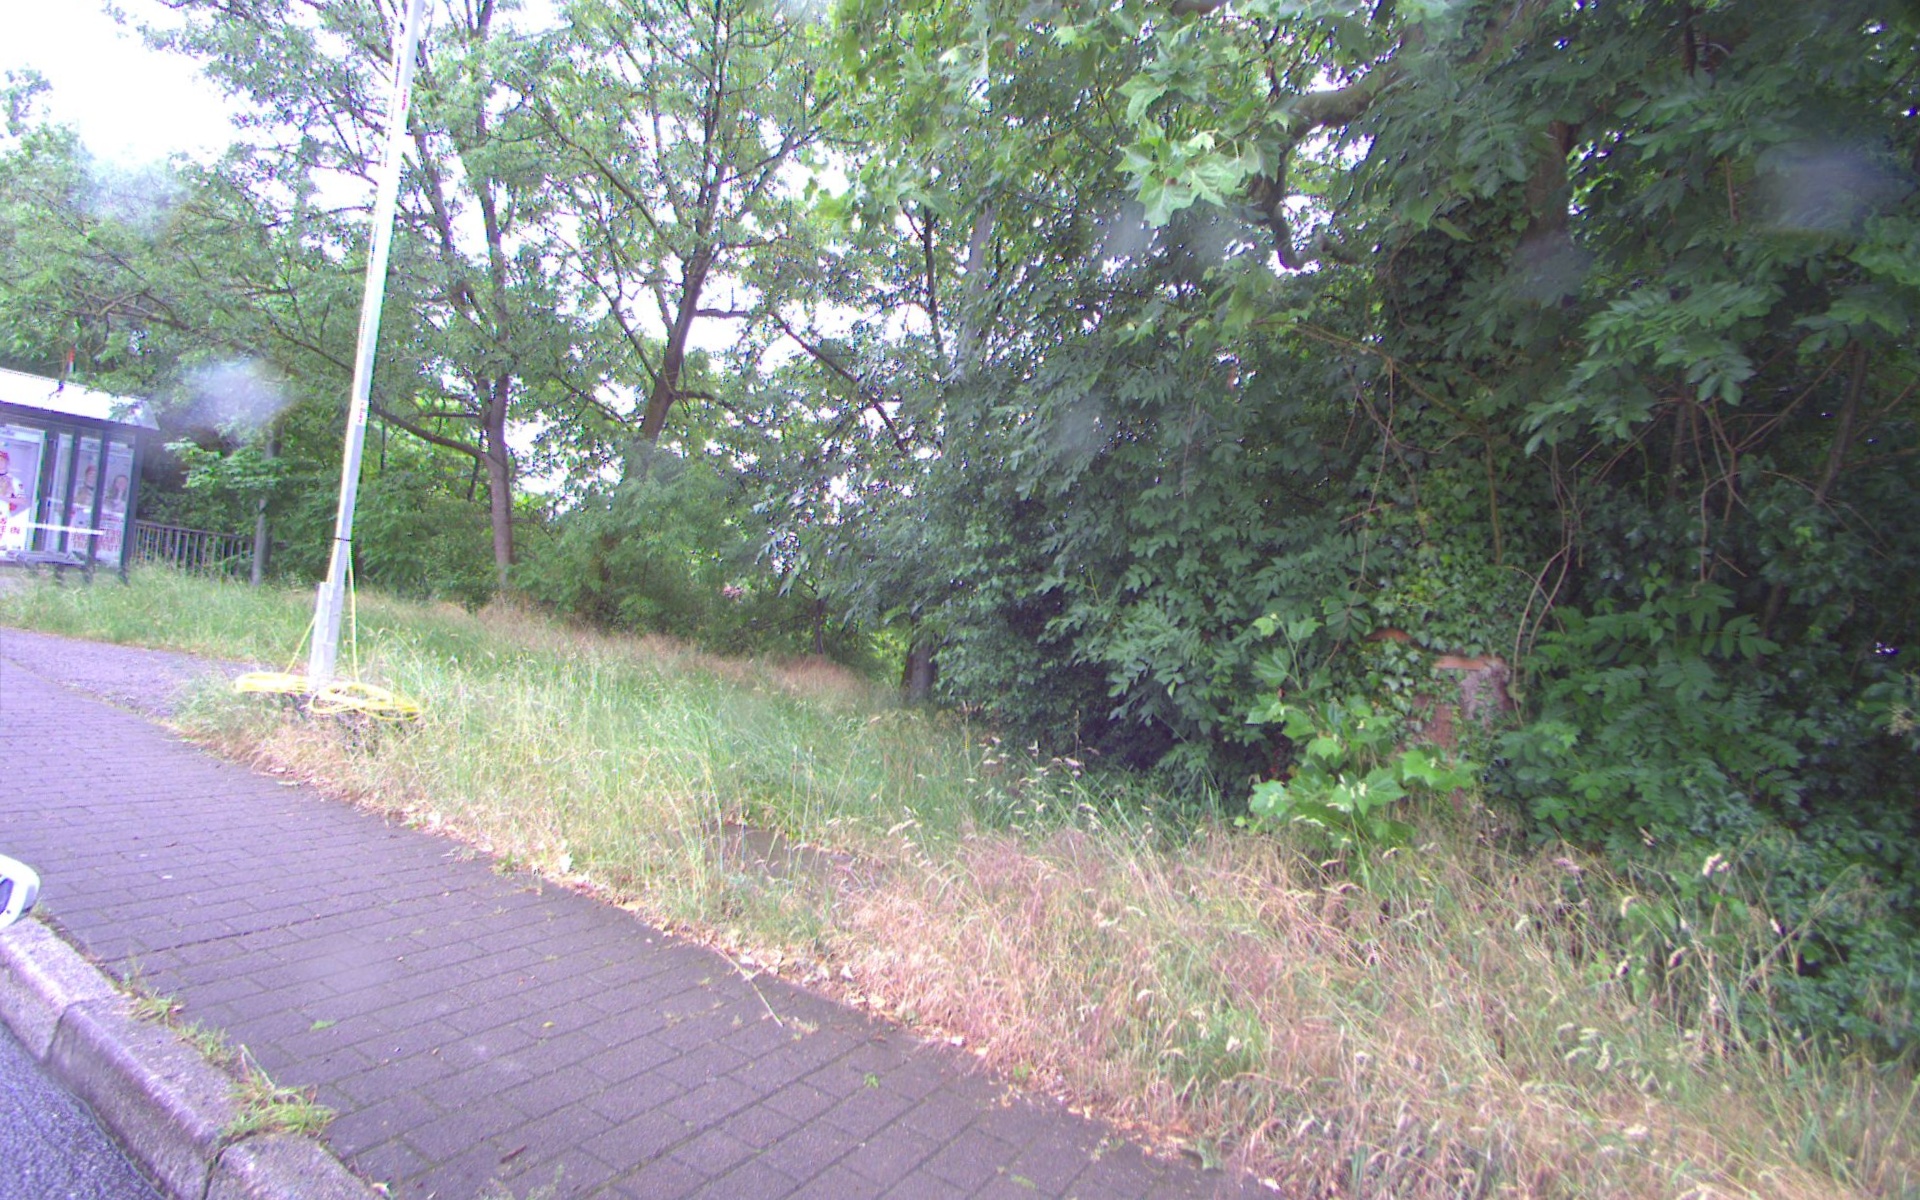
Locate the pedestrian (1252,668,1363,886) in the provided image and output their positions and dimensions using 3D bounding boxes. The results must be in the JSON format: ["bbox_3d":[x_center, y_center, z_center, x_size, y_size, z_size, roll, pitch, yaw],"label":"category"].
[{"bbox_3d":[3.059,1.526,8.924,0.655,1.761,0.684,7,0,14],"label":"pedestrian"}]
